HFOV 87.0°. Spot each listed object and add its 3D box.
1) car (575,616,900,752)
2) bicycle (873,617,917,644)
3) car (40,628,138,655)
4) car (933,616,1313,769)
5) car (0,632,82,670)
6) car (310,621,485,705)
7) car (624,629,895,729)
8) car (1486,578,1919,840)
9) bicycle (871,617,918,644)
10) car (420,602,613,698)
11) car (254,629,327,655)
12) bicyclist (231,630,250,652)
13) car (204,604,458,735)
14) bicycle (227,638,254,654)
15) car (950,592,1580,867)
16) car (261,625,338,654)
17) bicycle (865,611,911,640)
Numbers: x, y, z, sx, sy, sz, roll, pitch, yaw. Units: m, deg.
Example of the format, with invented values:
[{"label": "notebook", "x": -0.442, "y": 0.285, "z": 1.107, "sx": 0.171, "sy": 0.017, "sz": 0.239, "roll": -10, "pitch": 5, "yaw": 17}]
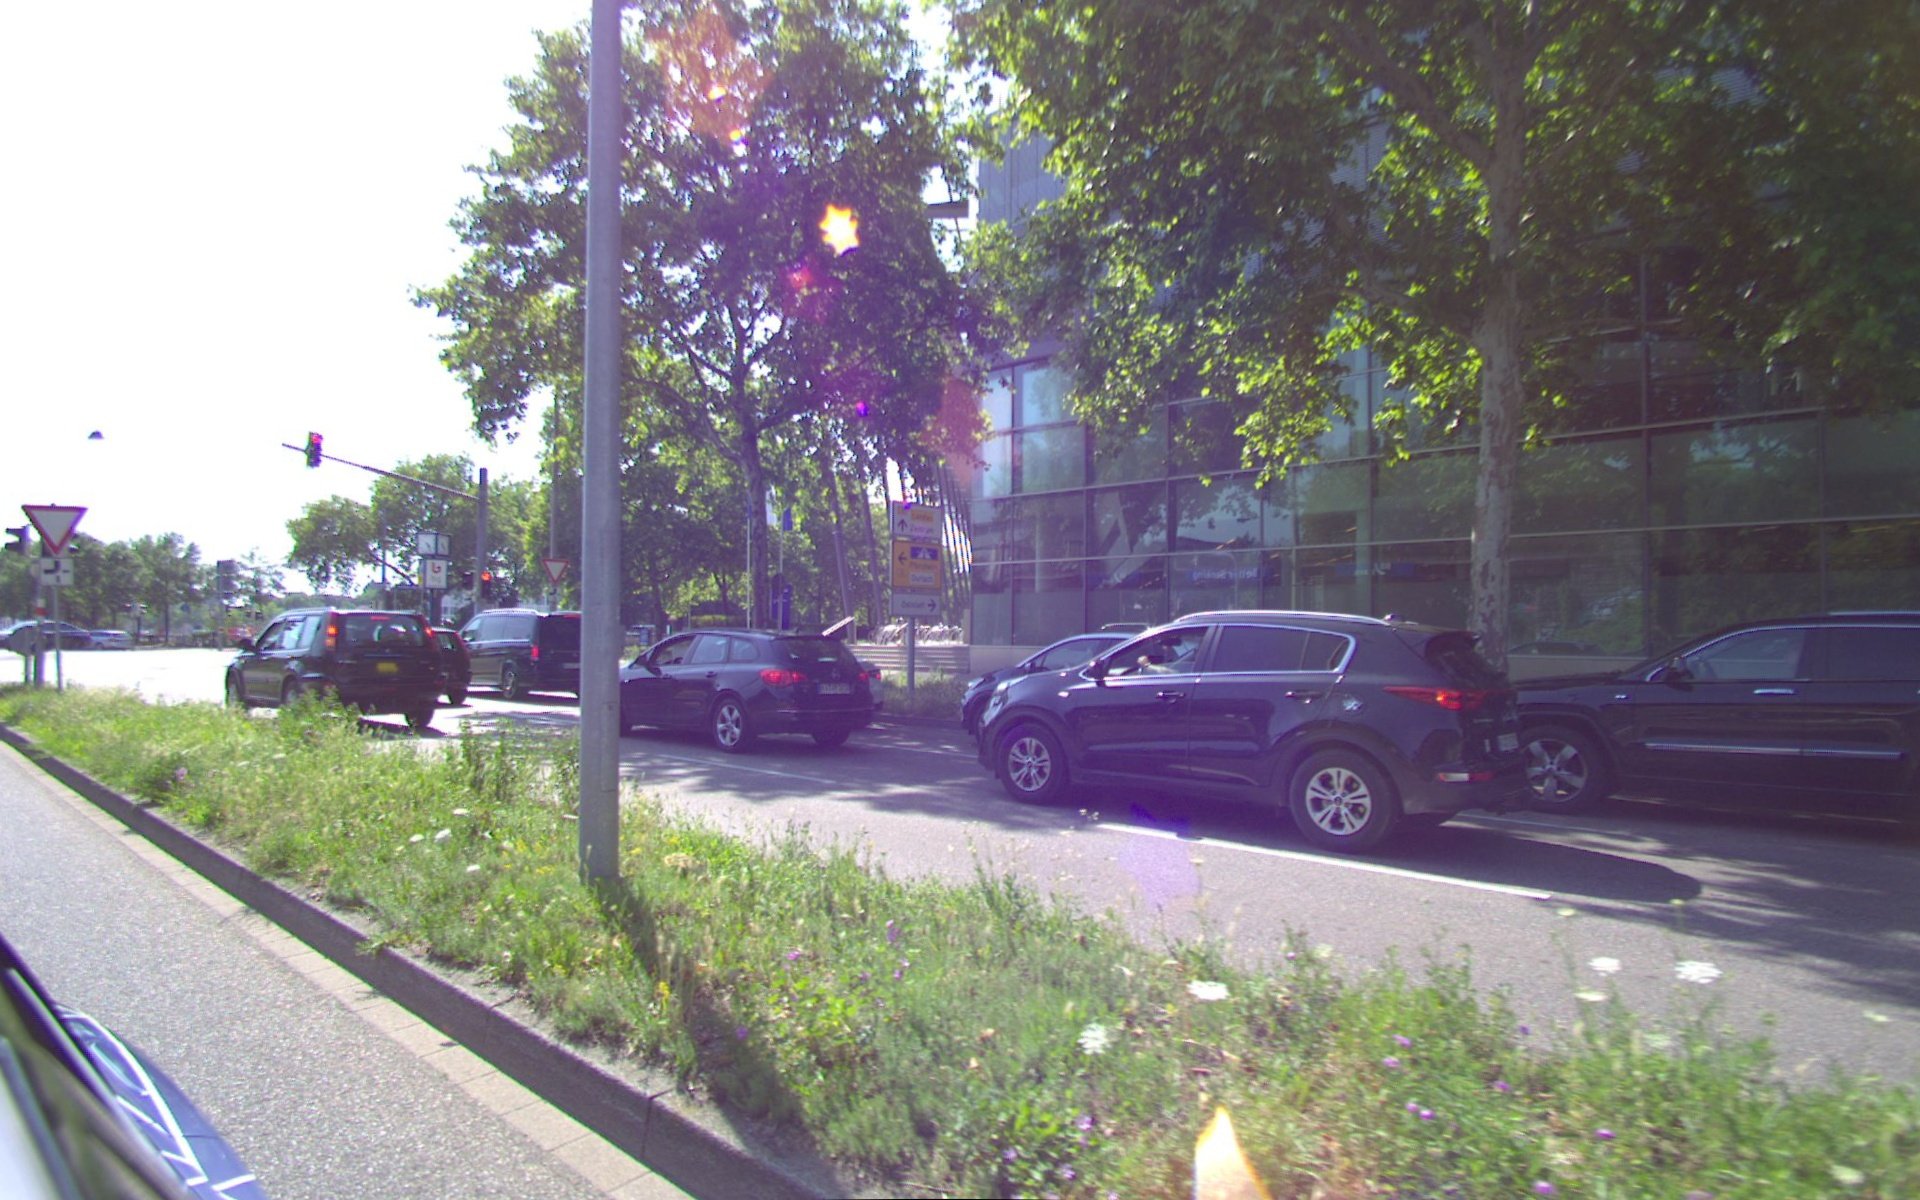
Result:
[{"label": "car", "x": -3.033, "y": 1.013, "z": 13.242, "sx": 4.515, "sy": 1.473, "sz": 1.816, "roll": -1, "pitch": -5, "yaw": 42}, {"label": "bicycle", "x": -2.687, "y": 1.278, "z": 42.228, "sx": 1.776, "sy": 1.119, "sz": 0.739, "roll": 0, "pitch": -2, "yaw": 2}, {"label": "car", "x": -61.703, "y": 2.927, "z": 71.755, "sx": 5.085, "sy": 1.737, "sz": 2.002, "roll": -2, "pitch": -3, "yaw": -6}, {"label": "car", "x": 1.928, "y": 1.063, "z": 12.815, "sx": 4.444, "sy": 1.603, "sz": 1.867, "roll": -1, "pitch": -4, "yaw": 42}, {"label": "car", "x": -42.288, "y": 2.306, "z": 45.504, "sx": 1.799, "sy": 1.626, "sz": 3.986, "roll": -2, "pitch": -3, "yaw": 10}, {"label": "car", "x": -11.164, "y": 1.197, "z": 19.983, "sx": 3.955, "sy": 1.487, "sz": 1.743, "roll": -2, "pitch": -3, "yaw": 41}, {"label": "car", "x": -3.543, "y": 1.265, "z": 17.262, "sx": 5.002, "sy": 1.460, "sz": 1.871, "roll": -1, "pitch": -4, "yaw": 42}, {"label": "car", "x": 7.093, "y": 0.824, "z": 8.247, "sx": 4.648, "sy": 1.849, "sz": 1.973, "roll": -2, "pitch": -4, "yaw": 41}, {"label": "bicycle", "x": -2.675, "y": 1.242, "z": 41.274, "sx": 1.861, "sy": 1.119, "sz": 0.739, "roll": 0, "pitch": -2, "yaw": 2}, {"label": "car", "x": -10.081, "y": 1.124, "z": 22.814, "sx": 5.225, "sy": 1.934, "sz": 1.918, "roll": -3, "pitch": -3, "yaw": 41}, {"label": "car", "x": -43.596, "y": 2.712, "z": 66.042, "sx": 1.752, "sy": 1.641, "sz": 3.990, "roll": 0, "pitch": -2, "yaw": 8}, {"label": "bicyclist", "x": -48.120, "y": 2.720, "z": 67.680, "sx": 0.919, "sy": 1.447, "sz": 0.764, "roll": -1, "pitch": -2, "yaw": 36}, {"label": "car", "x": -9.236, "y": 0.946, "z": 14.722, "sx": 4.487, "sy": 1.628, "sz": 1.789, "roll": -2, "pitch": -3, "yaw": 40}, {"label": "bicycle", "x": -48.138, "y": 3.081, "z": 67.685, "sx": 2.396, "sy": 1.061, "sz": 0.764, "roll": -1, "pitch": -2, "yaw": 36}, {"label": "car", "x": 2.247, "y": 0.859, "z": 8.221, "sx": 4.493, "sy": 1.623, "sz": 1.973, "roll": -2, "pitch": -4, "yaw": 41}, {"label": "car", "x": -39.856, "y": 2.370, "z": 61.192, "sx": 1.970, "sy": 1.722, "sz": 4.434, "roll": 0, "pitch": -2, "yaw": -4}, {"label": "bicycle", "x": -2.885, "y": 1.017, "z": 40.489, "sx": 1.776, "sy": 1.119, "sz": 0.739, "roll": 0, "pitch": -2, "yaw": 2}]
